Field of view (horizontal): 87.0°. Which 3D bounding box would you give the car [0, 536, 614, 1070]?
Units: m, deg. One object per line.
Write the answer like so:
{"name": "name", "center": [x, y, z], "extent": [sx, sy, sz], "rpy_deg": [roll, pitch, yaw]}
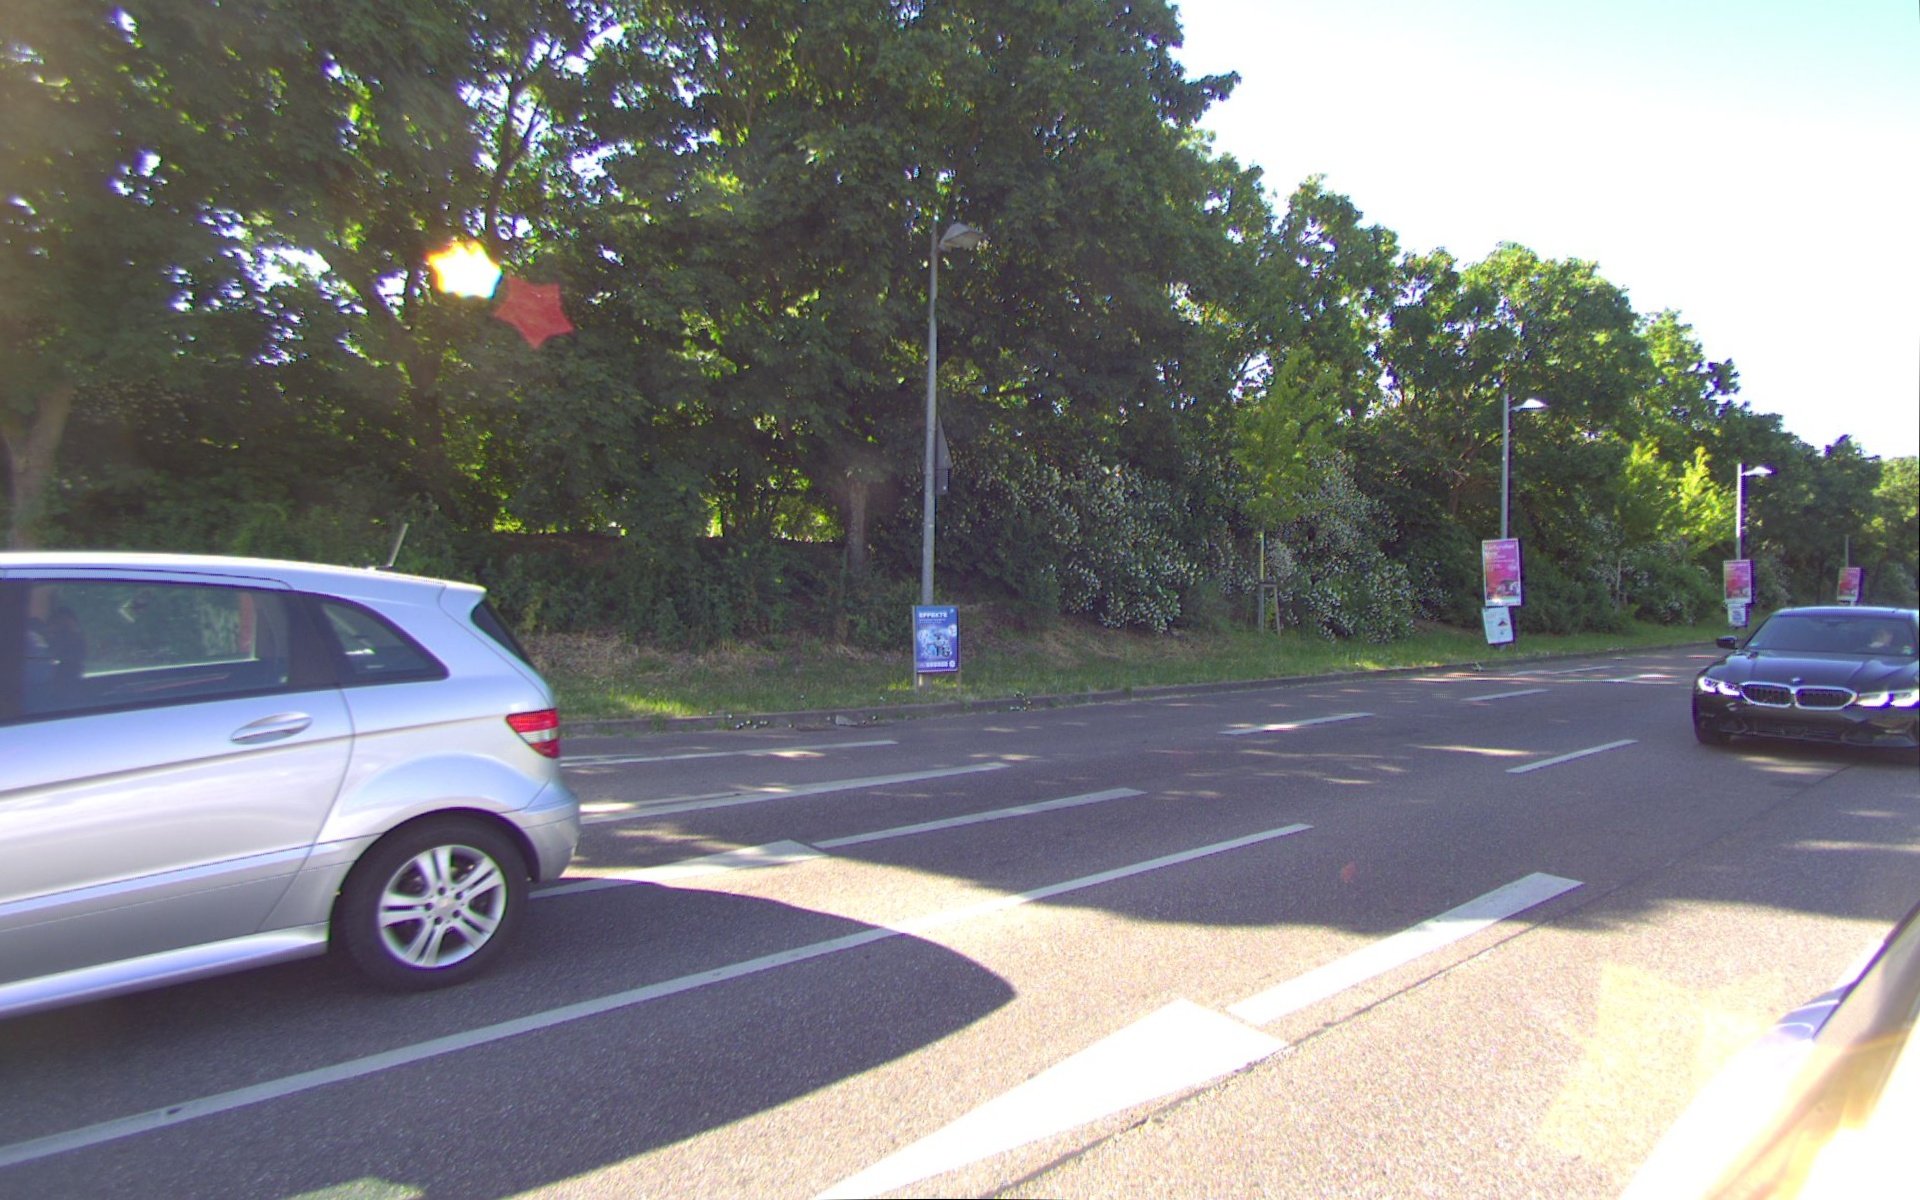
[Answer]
{"name": "car", "center": [-3.465, 0.572, 3.481], "extent": [3.987, 1.559, 1.673], "rpy_deg": [0, 1, -39]}

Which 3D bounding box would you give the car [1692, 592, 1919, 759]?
{"name": "car", "center": [9.427, 0.637, 10.711], "extent": [4.143, 1.426, 1.830], "rpy_deg": [-1, 1, -41]}
